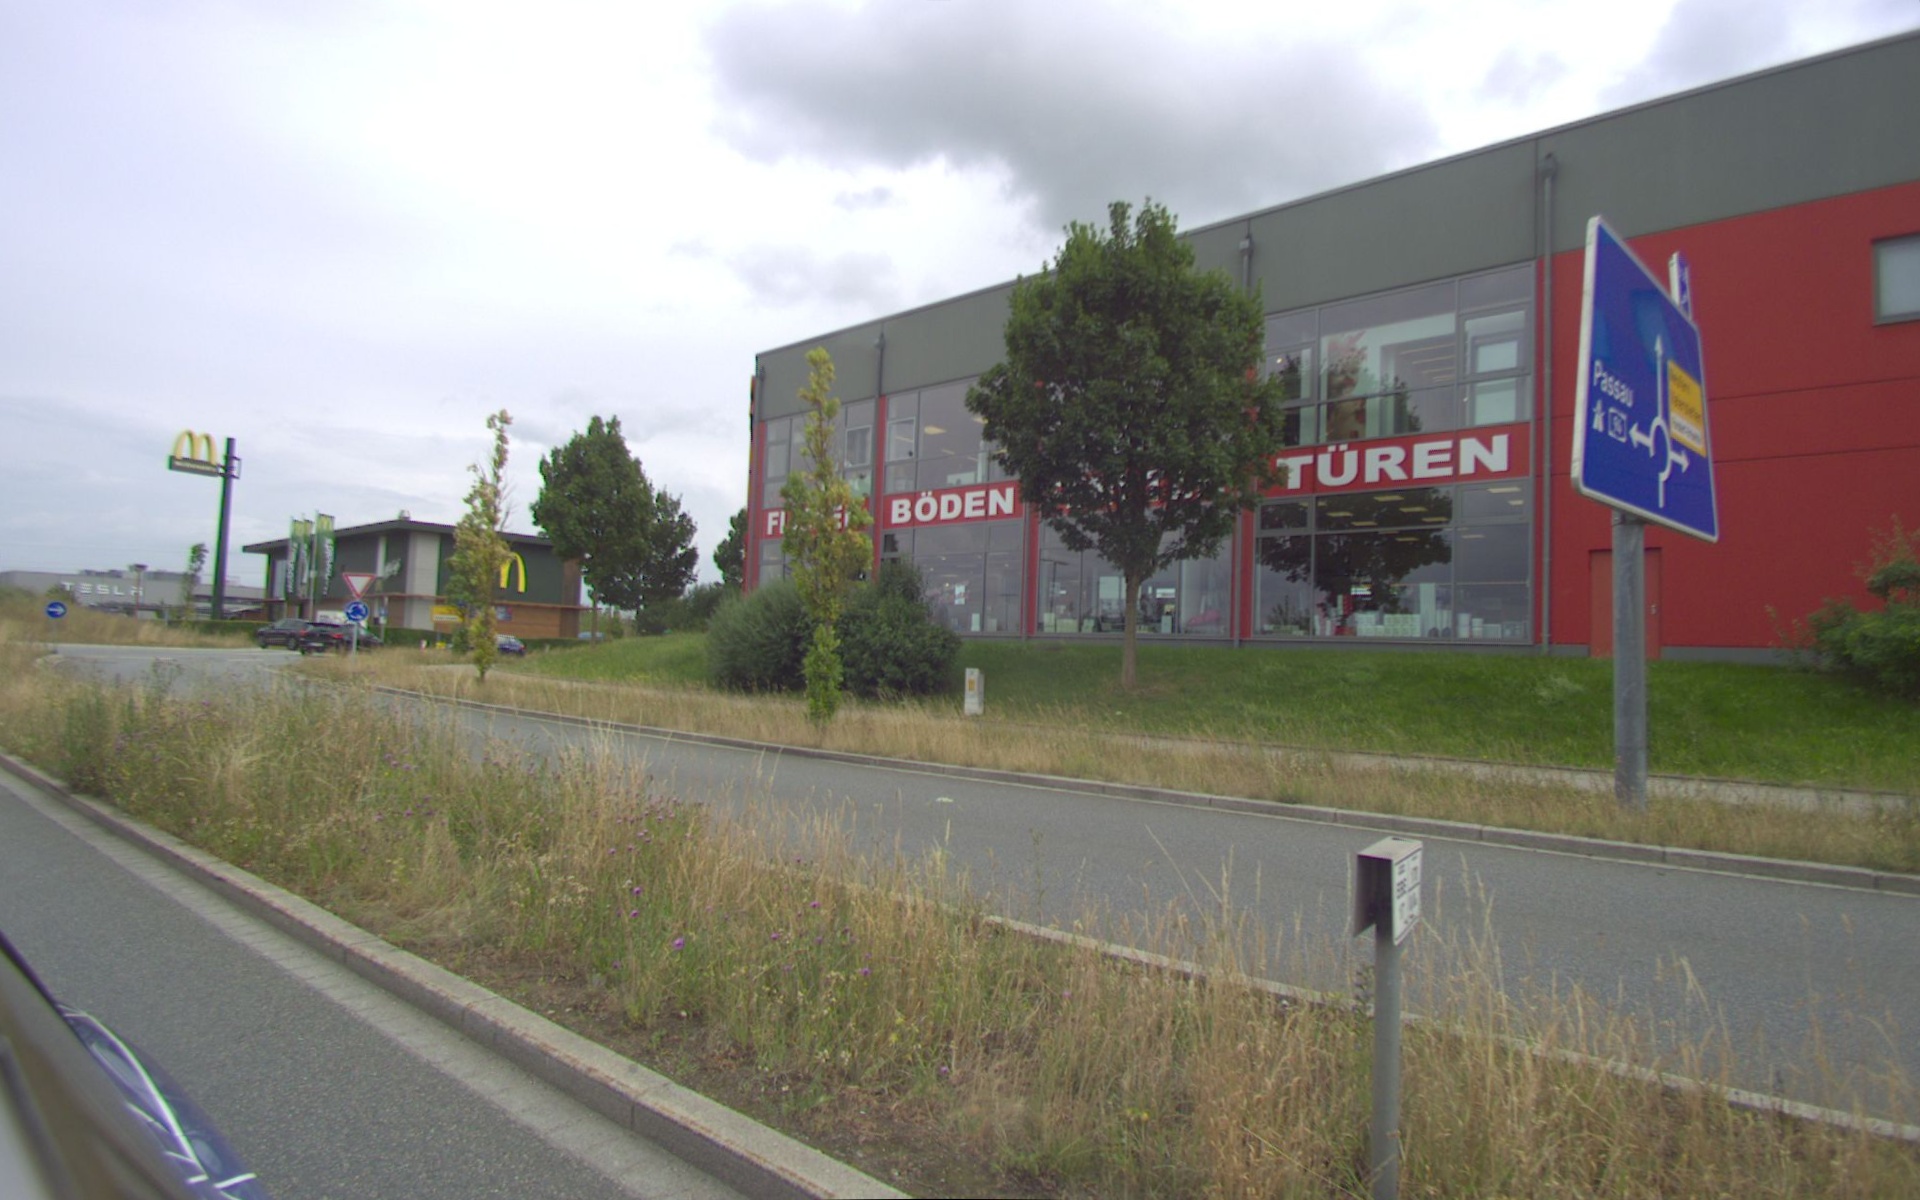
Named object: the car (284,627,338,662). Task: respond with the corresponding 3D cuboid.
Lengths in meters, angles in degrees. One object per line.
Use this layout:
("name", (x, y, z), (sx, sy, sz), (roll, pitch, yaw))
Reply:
("car", (-33.983, 2.324, 52.944), (1.788, 1.683, 4.624), (5, -5, -38))

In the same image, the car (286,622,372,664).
("car", (-26.184, 1.807, 42.157), (1.619, 1.470, 3.776), (7, -5, -10))

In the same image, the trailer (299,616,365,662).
("trailer", (-31.131, 1.912, 50.138), (1.786, 2.107, 4.148), (7, -6, -44))

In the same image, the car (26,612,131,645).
("car", (-47.086, 1.551, 54.160), (3.749, 1.562, 1.768), (3, -3, -18))

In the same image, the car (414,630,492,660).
("car", (-30.578, 2.749, 61.174), (1.881, 1.671, 3.994), (2, -3, 18))
